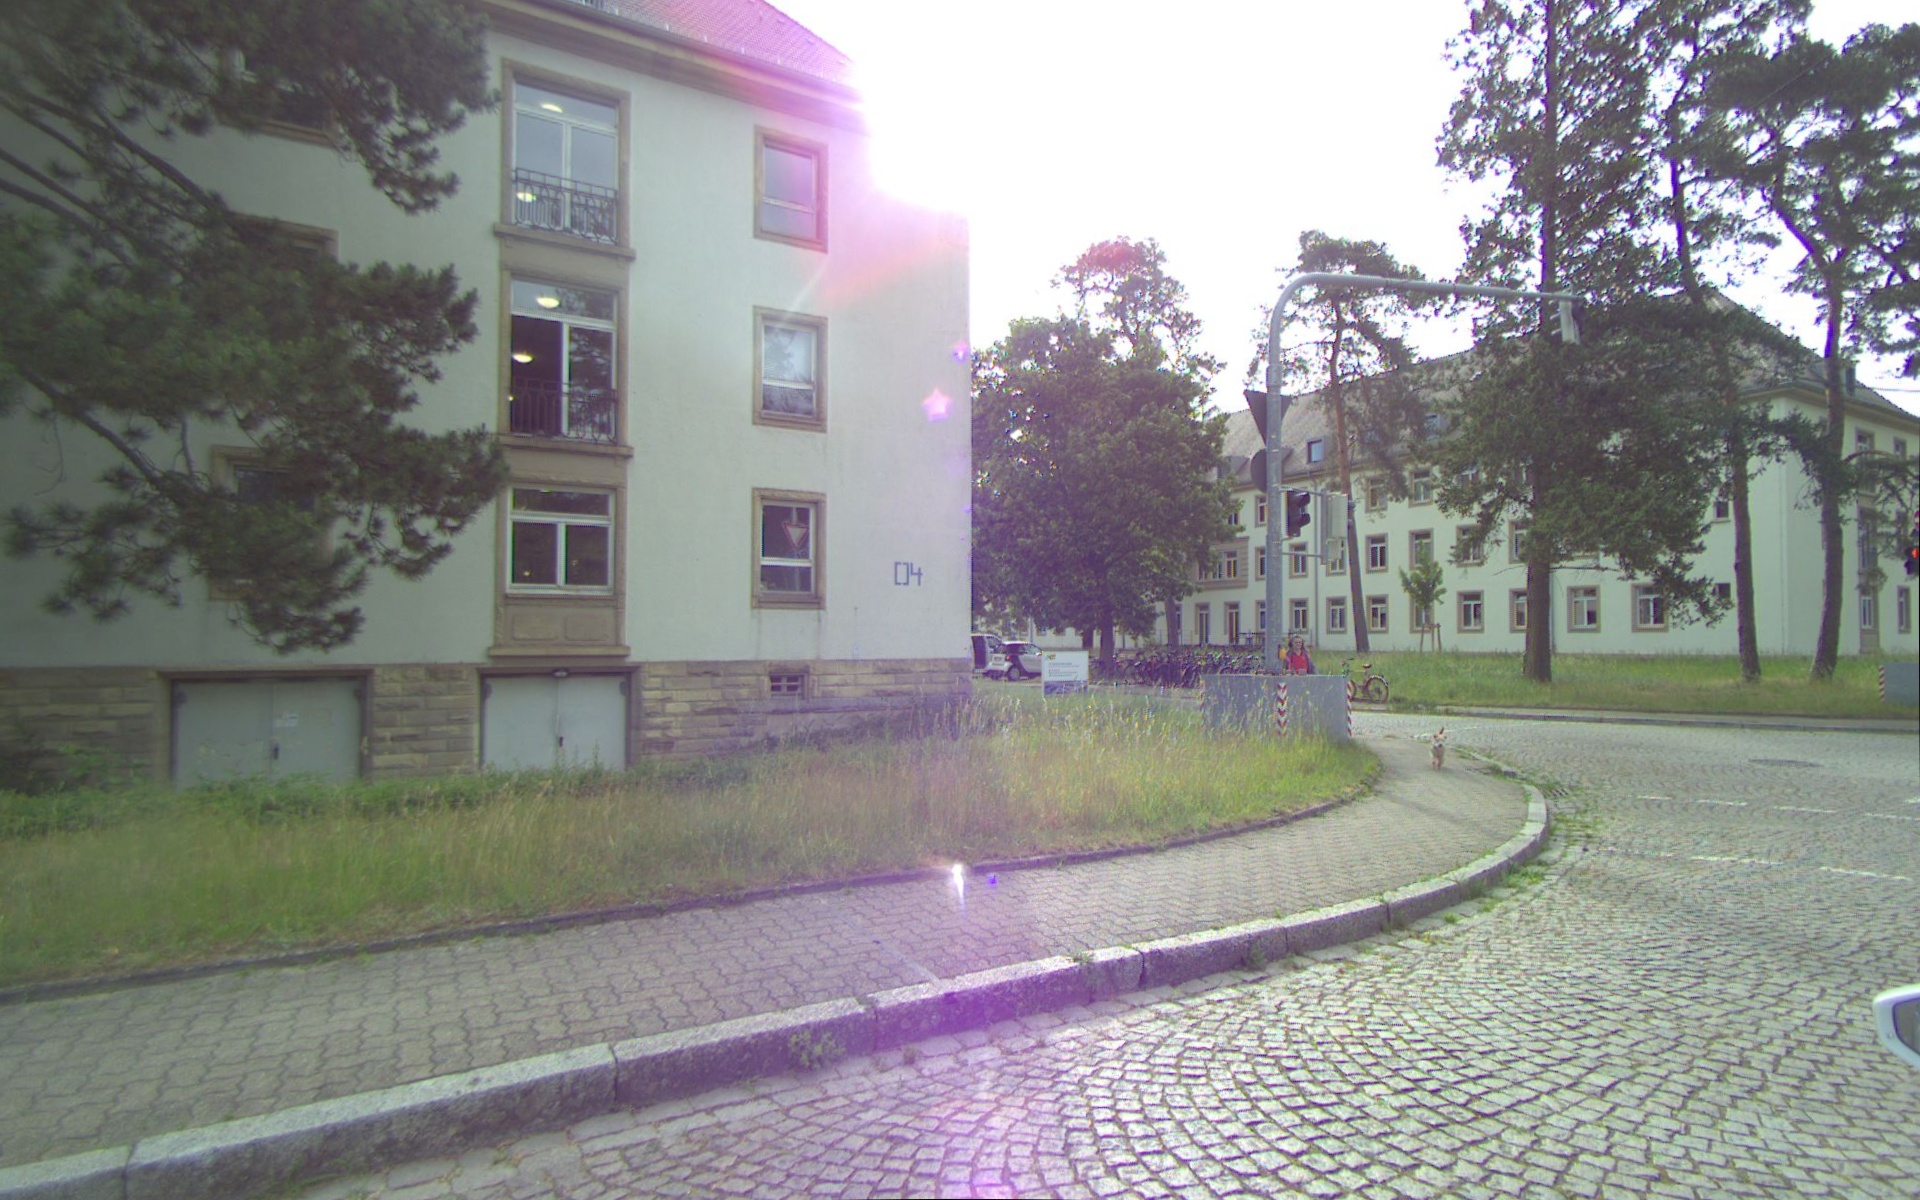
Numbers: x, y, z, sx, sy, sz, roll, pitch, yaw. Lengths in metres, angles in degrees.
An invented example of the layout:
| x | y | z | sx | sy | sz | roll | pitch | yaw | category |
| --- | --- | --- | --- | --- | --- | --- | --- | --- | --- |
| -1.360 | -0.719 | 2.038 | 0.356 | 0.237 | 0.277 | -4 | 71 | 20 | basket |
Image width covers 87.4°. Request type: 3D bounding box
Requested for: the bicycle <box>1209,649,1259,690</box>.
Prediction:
| x | y | z | sx | sy | sz | roll | pitch | yaw | category |
| --- | --- | --- | --- | --- | --- | --- | --- | --- | --- |
| 8.364 | 2.110 | 30.656 | 1.676 | 1.193 | 0.447 | 1 | -3 | -32 | bicycle |

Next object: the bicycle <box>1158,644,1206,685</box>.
| x | y | z | sx | sy | sz | roll | pitch | yaw | category |
| --- | --- | --- | --- | --- | --- | --- | --- | --- | --- |
| 7.229 | 2.086 | 32.649 | 1.676 | 1.300 | 0.447 | 1 | -3 | -32 | bicycle |

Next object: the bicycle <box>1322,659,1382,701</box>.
| x | y | z | sx | sy | sz | roll | pitch | yaw | category |
| --- | --- | --- | --- | --- | --- | --- | --- | --- | --- |
| 9.886 | 1.997 | 25.354 | 0.447 | 1.009 | 1.453 | 1 | -3 | -28 | bicycle |

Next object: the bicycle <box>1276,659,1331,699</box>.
| x | y | z | sx | sy | sz | roll | pitch | yaw | category |
| --- | --- | --- | --- | --- | --- | --- | --- | --- | --- |
| 9.114 | 2.091 | 26.665 | 0.447 | 1.009 | 1.453 | 1 | -3 | -28 | bicycle |

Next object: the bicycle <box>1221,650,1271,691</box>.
| x | y | z | sx | sy | sz | roll | pitch | yaw | category |
| --- | --- | --- | --- | --- | --- | --- | --- | --- | --- |
| 8.621 | 2.118 | 30.245 | 1.676 | 1.193 | 0.447 | 1 | -3 | -32 | bicycle |

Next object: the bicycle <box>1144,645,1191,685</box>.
| x | y | z | sx | sy | sz | roll | pitch | yaw | category |
| --- | --- | --- | --- | --- | --- | --- | --- | --- | --- |
| 6.878 | 2.147 | 33.210 | 1.676 | 1.300 | 0.447 | 1 | -3 | -32 | bicycle |

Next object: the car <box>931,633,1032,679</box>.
| x | y | z | sx | sy | sz | roll | pitch | yaw | category |
| --- | --- | --- | --- | --- | --- | --- | --- | --- | --- |
| 0.968 | 2.421 | 43.848 | 4.087 | 1.932 | 1.831 | 1 | -3 | -30 | car |

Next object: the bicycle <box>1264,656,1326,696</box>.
| x | y | z | sx | sy | sz | roll | pitch | yaw | category |
| --- | --- | --- | --- | --- | --- | --- | --- | --- | --- |
| 9.594 | 2.152 | 28.744 | 1.974 | 1.092 | 0.572 | 1 | -3 | -32 | bicycle |

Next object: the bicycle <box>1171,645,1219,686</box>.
| x | y | z | sx | sy | sz | roll | pitch | yaw | category |
| --- | --- | --- | --- | --- | --- | --- | --- | --- | --- |
| 7.527 | 2.079 | 32.172 | 1.676 | 1.300 | 0.447 | 1 | -3 | -32 | bicycle |

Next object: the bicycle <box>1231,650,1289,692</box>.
| x | y | z | sx | sy | sz | roll | pitch | yaw | category |
| --- | --- | --- | --- | --- | --- | --- | --- | --- | --- |
| 8.922 | 2.100 | 29.830 | 1.909 | 1.193 | 0.525 | 1 | -3 | -32 | bicycle |

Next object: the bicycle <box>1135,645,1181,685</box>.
| x | y | z | sx | sy | sz | roll | pitch | yaw | category |
| --- | --- | --- | --- | --- | --- | --- | --- | --- | --- |
| 6.627 | 2.152 | 33.627 | 1.676 | 1.300 | 0.447 | 1 | -3 | -32 | bicycle |

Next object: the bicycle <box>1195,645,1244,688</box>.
| x | y | z | sx | sy | sz | roll | pitch | yaw | category |
| --- | --- | --- | --- | --- | --- | --- | --- | --- | --- |
| 8.102 | 2.069 | 31.331 | 1.676 | 1.300 | 0.447 | 1 | -3 | -32 | bicycle |

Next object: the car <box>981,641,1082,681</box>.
| x | y | z | sx | sy | sz | roll | pitch | yaw | category |
| --- | --- | --- | --- | --- | --- | --- | --- | --- | --- |
| 2.985 | 2.500 | 41.832 | 3.851 | 1.576 | 1.831 | 1 | -3 | -30 | car |

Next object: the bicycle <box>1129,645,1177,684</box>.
| x | y | z | sx | sy | sz | roll | pitch | yaw | category |
| --- | --- | --- | --- | --- | --- | --- | --- | --- | --- |
| 6.563 | 2.164 | 34.136 | 1.765 | 1.300 | 0.440 | 1 | -3 | -32 | bicycle |

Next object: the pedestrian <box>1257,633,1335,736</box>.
| x | y | z | sx | sy | sz | roll | pitch | yaw | category |
| --- | --- | --- | --- | --- | --- | --- | --- | --- | --- |
| 5.715 | 1.420 | 17.121 | 0.925 | 1.690 | 0.859 | 1 | -2 | -17 | pedestrian |

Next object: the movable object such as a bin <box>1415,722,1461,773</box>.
| x | y | z | sx | sy | sz | roll | pitch | yaw | category |
| --- | --- | --- | --- | --- | --- | --- | --- | --- | --- |
| 5.715 | 1.749 | 11.994 | 0.437 | 0.510 | 0.751 | -1 | -3 | 29 | movable object such as a bin |

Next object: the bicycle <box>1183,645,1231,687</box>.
| x | y | z | sx | sy | sz | roll | pitch | yaw | category |
| --- | --- | --- | --- | --- | --- | --- | --- | --- | --- |
| 7.818 | 2.074 | 31.747 | 1.676 | 1.300 | 0.447 | 1 | -3 | -32 | bicycle |

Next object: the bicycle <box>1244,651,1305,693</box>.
| x | y | z | sx | sy | sz | roll | pitch | yaw | category |
| --- | --- | --- | --- | --- | --- | --- | --- | --- | --- |
| 9.186 | 2.092 | 29.308 | 1.932 | 1.193 | 0.572 | 1 | -3 | -32 | bicycle |

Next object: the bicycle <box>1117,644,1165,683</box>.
| x | y | z | sx | sy | sz | roll | pitch | yaw | category |
| --- | --- | --- | --- | --- | --- | --- | --- | --- | --- |
| 6.222 | 2.167 | 34.470 | 1.807 | 1.300 | 0.447 | 1 | -3 | -32 | bicycle |
